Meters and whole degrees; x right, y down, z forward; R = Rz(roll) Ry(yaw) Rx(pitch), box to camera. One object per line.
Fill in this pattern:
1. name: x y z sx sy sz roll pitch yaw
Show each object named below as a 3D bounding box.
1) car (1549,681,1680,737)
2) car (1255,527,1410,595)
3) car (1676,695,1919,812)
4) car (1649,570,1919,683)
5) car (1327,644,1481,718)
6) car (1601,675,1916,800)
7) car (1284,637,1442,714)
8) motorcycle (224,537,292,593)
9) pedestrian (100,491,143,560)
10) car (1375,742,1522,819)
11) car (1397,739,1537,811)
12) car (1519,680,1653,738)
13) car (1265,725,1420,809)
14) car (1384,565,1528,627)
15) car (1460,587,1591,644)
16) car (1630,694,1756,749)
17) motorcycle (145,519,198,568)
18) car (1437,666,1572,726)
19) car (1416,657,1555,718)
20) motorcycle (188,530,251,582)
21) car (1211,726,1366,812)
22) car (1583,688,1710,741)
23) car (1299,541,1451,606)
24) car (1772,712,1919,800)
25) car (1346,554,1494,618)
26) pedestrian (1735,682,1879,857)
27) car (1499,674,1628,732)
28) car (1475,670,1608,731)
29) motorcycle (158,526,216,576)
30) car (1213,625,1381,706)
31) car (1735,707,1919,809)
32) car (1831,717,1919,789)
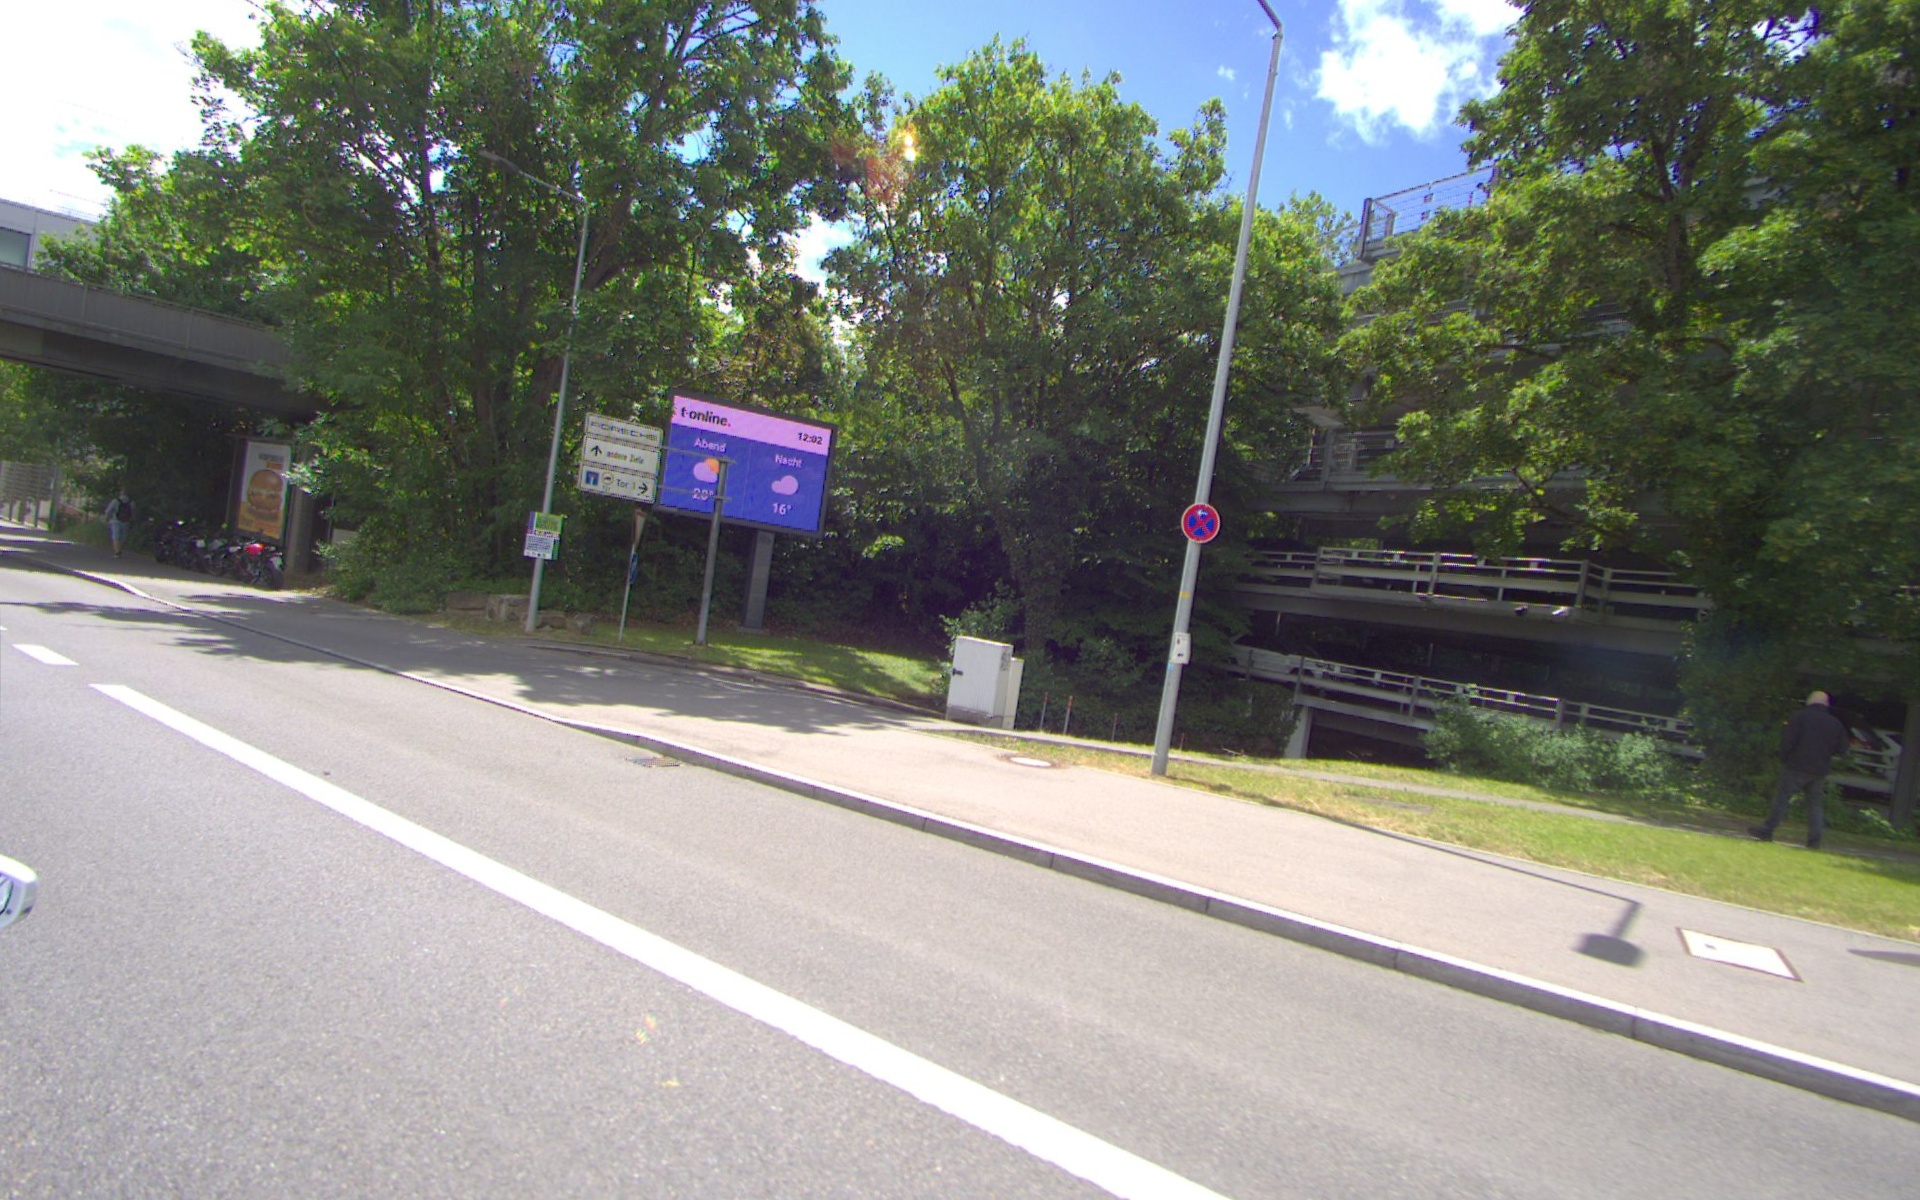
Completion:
1. car: 25.855 4.270 39.847 1.741 1.559 3.853 8 -1 -34
2. car: 10.110 -1.085 27.534 1.618 1.542 3.591 8 -1 -34
3. car: 17.123 3.056 20.353 1.761 1.490 3.762 9 1 -33
4. car: 17.112 0.490 20.974 1.920 1.814 3.963 9 -2 -34
5. car: 13.347 2.406 30.421 1.761 1.490 3.762 9 1 -33
6. car: 15.148 2.557 19.357 1.641 1.614 4.353 8 -1 -34
7. car: 11.569 2.150 29.088 1.761 1.490 3.762 9 1 -33
8. motorcycle: -16.607 -0.837 23.787 1.985 1.124 0.547 7 0 34
9. pedestrian: -24.217 -2.146 29.057 0.858 1.881 0.623 6 0 35
10. car: 15.171 5.599 31.405 1.741 1.658 3.591 8 -1 -34
11. car: 16.641 5.732 33.161 1.741 1.658 3.591 8 -1 -34
12. car: 23.904 4.131 38.514 1.741 1.559 3.853 8 -1 -34
13. car: 11.046 4.815 29.280 1.761 1.490 3.762 9 1 -33
14. car: 15.430 -0.153 31.443 1.618 1.542 3.591 8 -1 -34
15. car: 19.190 0.501 34.268 1.477 1.542 3.470 8 -1 -34
16. car: 31.610 5.222 43.503 1.741 1.658 3.937 8 -1 -34
17. motorcycle: -22.168 -1.592 28.271 1.873 1.213 0.547 7 0 34
18. car: 18.726 3.274 34.702 1.741 1.460 3.591 8 -1 -34
19. car: 17.164 2.841 33.002 1.618 1.448 3.591 8 -1 -34
20. motorcycle: -18.600 -1.110 25.249 1.985 1.124 0.547 7 0 34
21. car: 9.106 4.684 28.168 1.681 1.450 3.762 9 1 -33
22. car: 28.345 4.708 41.649 1.741 1.559 3.853 8 -1 -34
23. car: 11.790 -0.791 28.767 1.618 1.542 3.591 8 -1 -34
24. car: 21.170 3.633 23.019 1.618 1.542 3.591 8 -1 -34
25. car: 13.687 -0.457 30.114 1.618 1.542 3.591 8 -1 -34
26. pedestrian: 9.506 1.881 11.318 0.760 1.740 0.590 11 3 9
27. car: 22.218 3.777 37.150 1.741 1.559 3.591 8 -1 -34
28. car: 20.628 3.544 35.803 1.741 1.559 3.591 8 -1 -34
29. motorcycle: -20.437 -1.298 26.581 1.985 1.124 0.547 7 0 34
30. car: 9.336 1.797 28.188 1.761 1.490 4.100 9 1 -33
31. car: 19.437 3.471 21.742 1.761 1.490 3.762 9 1 -33
32. car: 24.607 4.025 25.357 1.618 1.542 3.591 8 -1 -34
